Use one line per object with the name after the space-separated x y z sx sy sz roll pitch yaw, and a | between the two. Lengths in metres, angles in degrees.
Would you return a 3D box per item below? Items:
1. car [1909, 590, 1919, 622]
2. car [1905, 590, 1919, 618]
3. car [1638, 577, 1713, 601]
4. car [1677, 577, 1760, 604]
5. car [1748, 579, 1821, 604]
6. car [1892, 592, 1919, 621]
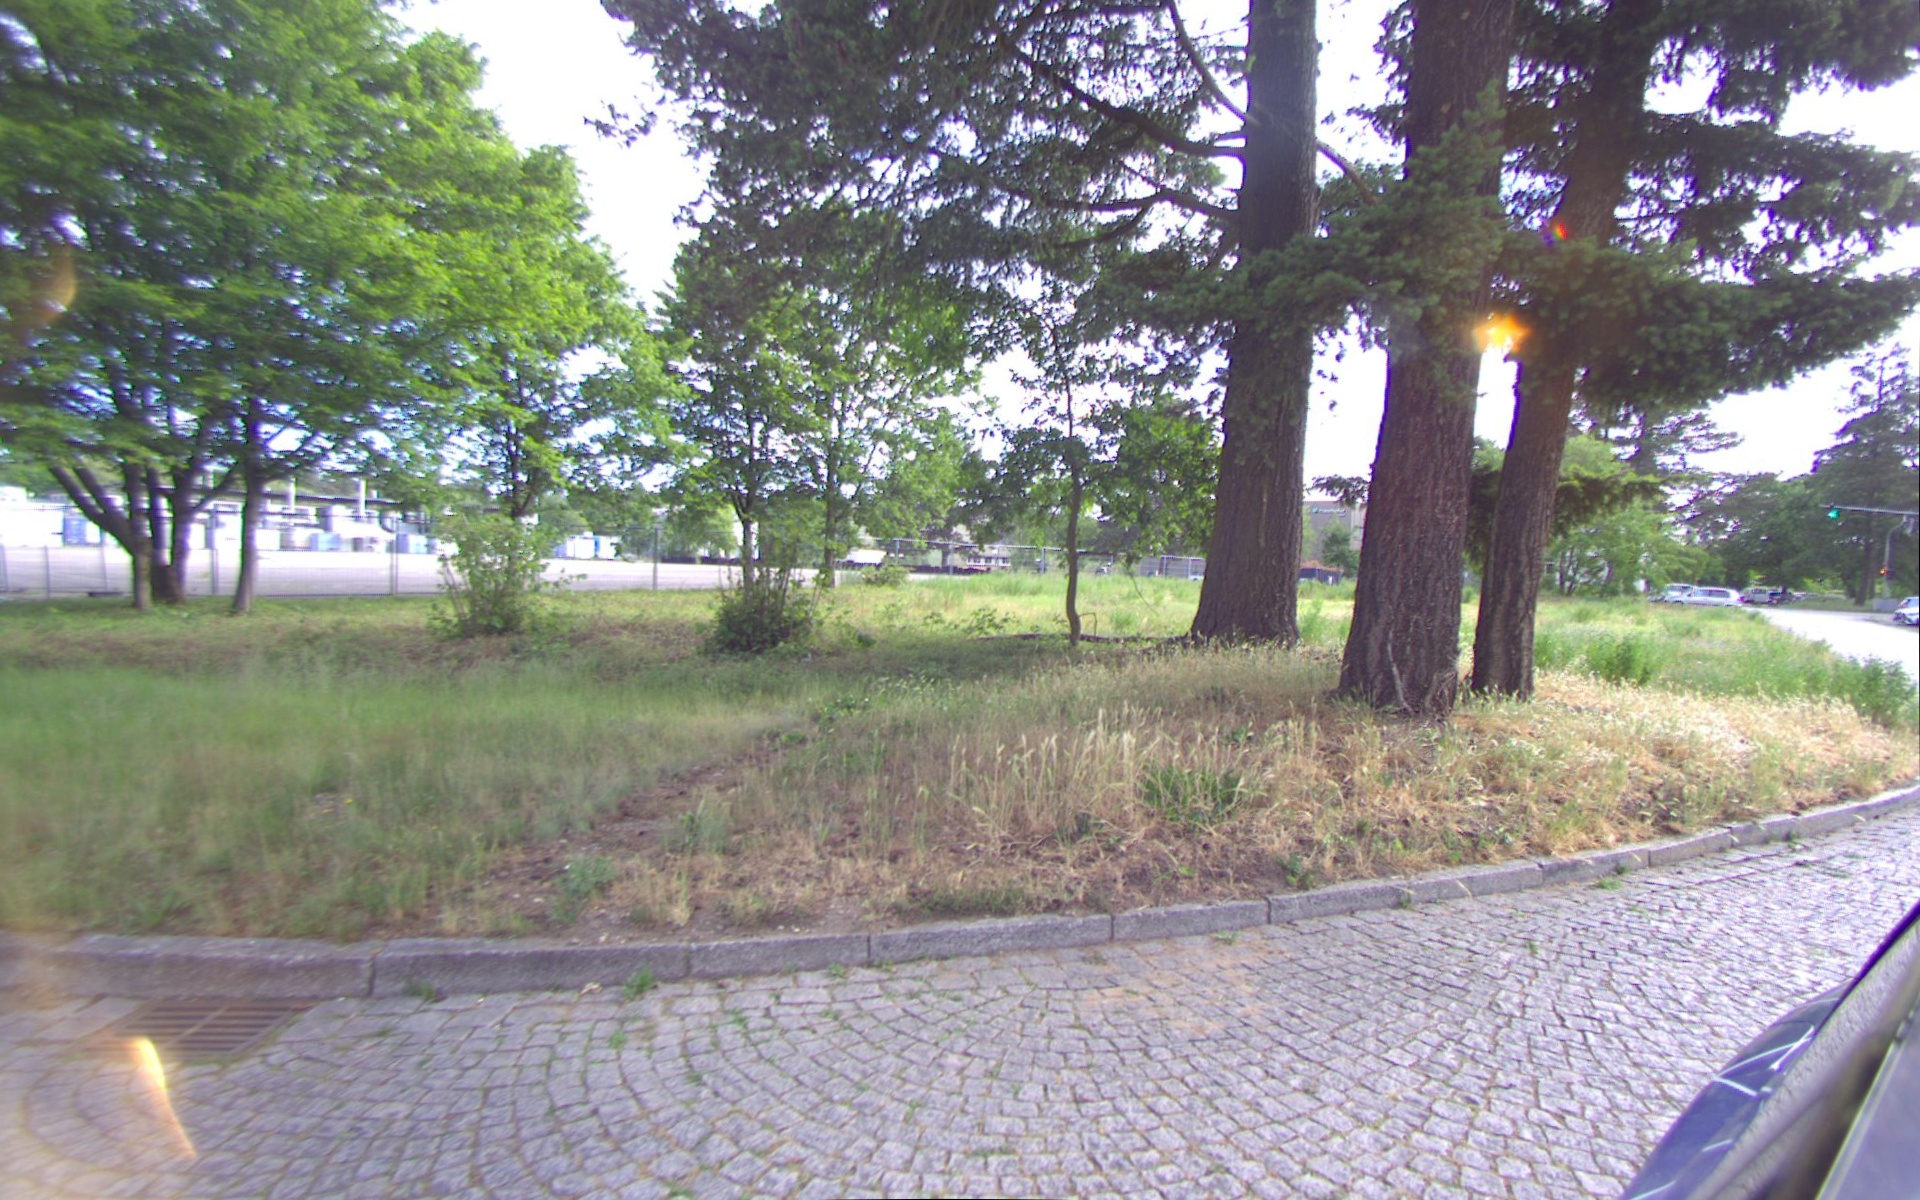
48.678 0.290 49.092 3.541 1.506 1.587 0 1 29 | car
52.302 0.206 53.273 3.422 1.450 1.613 0 1 28 | car
45.161 -0.702 63.981 3.699 1.455 1.610 1 2 30 | car
43.740 -0.561 58.451 3.705 1.455 1.608 1 2 34 | car
88.469 -0.901 108.743 5.754 2.594 2.739 0 1 32 | car
50.090 0.333 51.588 3.549 1.476 1.607 0 1 35 | car
